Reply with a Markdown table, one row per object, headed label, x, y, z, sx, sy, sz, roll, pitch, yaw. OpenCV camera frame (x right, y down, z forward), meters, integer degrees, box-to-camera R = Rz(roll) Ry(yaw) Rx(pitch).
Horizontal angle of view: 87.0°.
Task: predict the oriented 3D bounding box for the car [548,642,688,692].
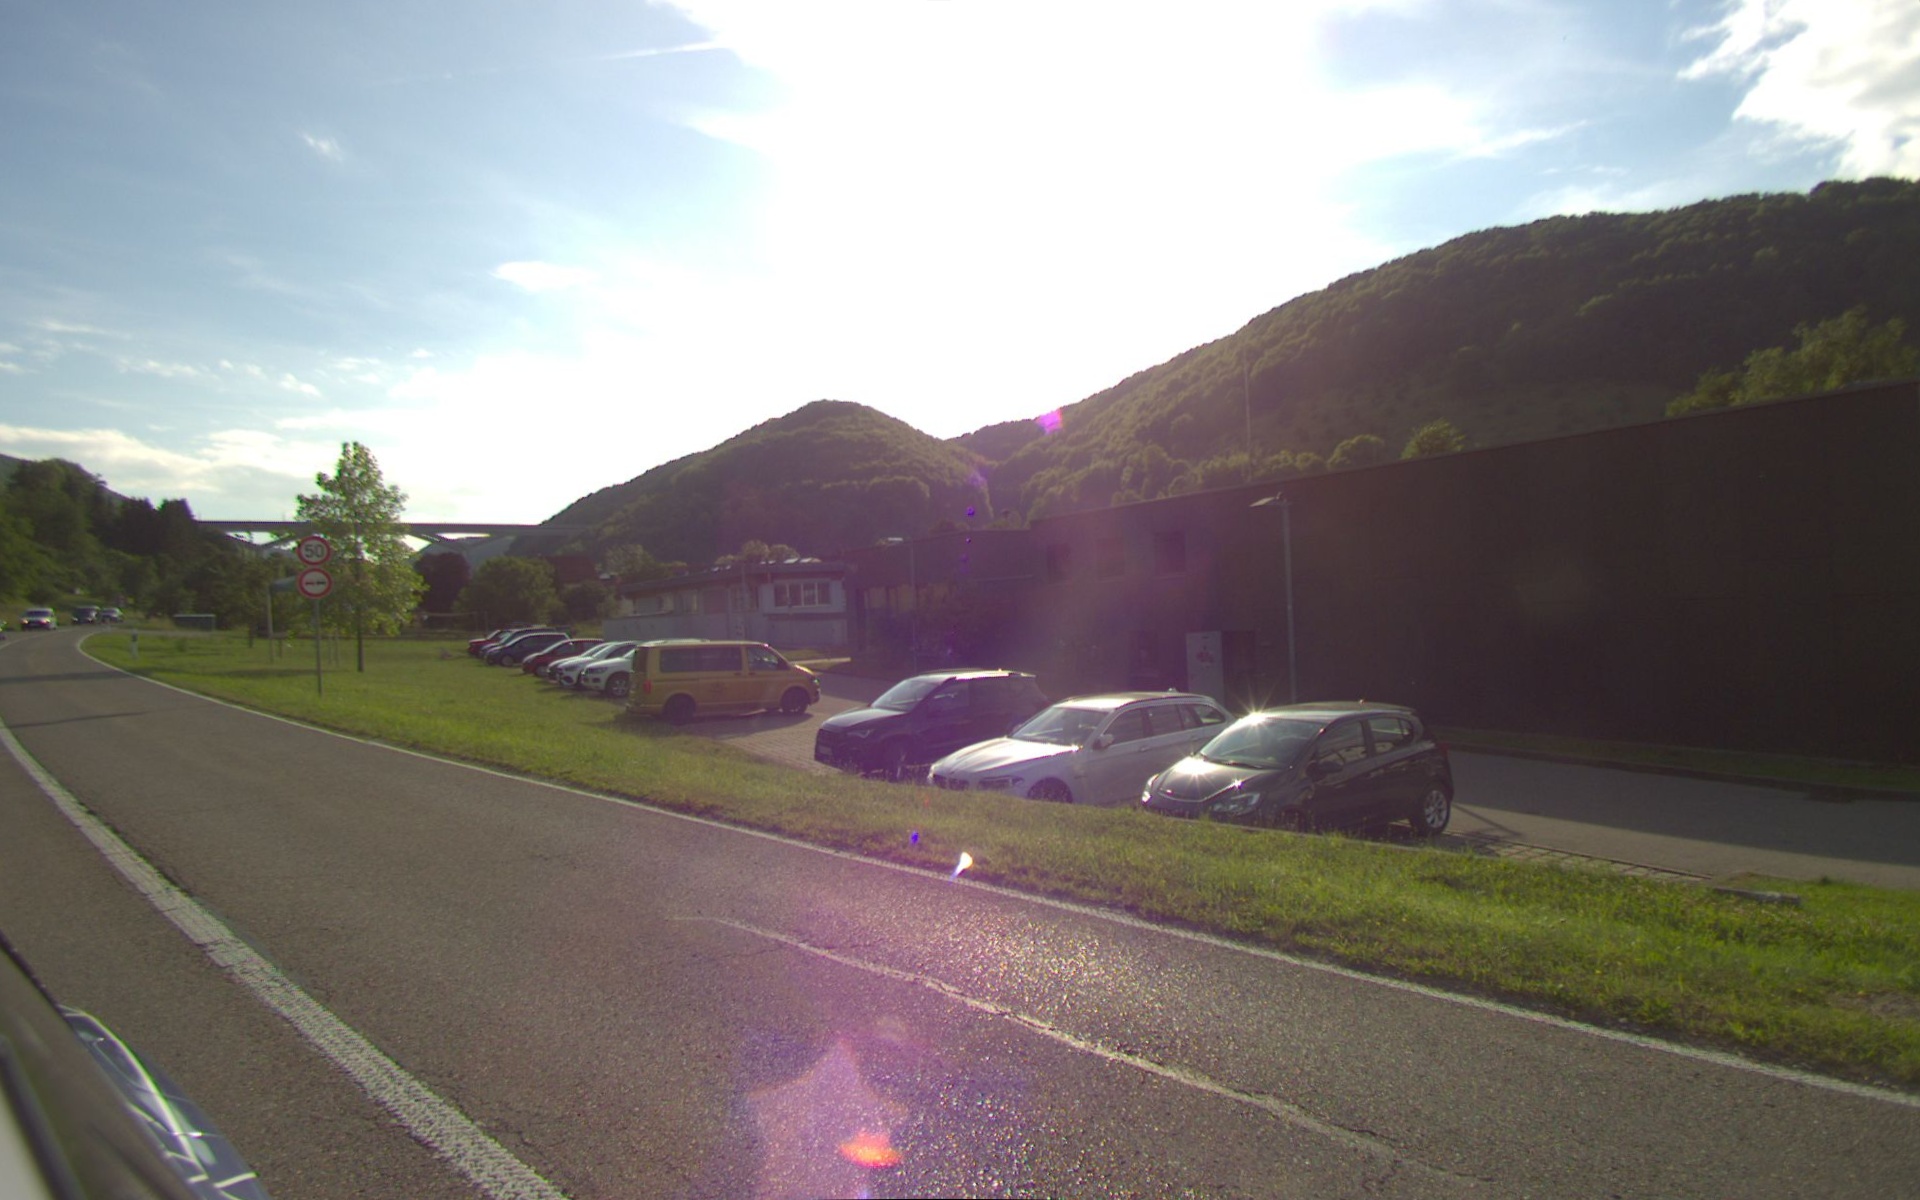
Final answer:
| label | x | y | z | sx | sy | sz | roll | pitch | yaw |
| --- | --- | --- | --- | --- | --- | --- | --- | --- | --- |
| car | -12.114 | 2.339 | 35.889 | 4.370 | 1.599 | 2.006 | 0 | -2 | -30 |

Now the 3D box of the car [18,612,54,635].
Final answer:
| label | x | y | z | sx | sy | sz | roll | pitch | yaw |
| --- | --- | --- | --- | --- | --- | --- | --- | --- | --- |
| car | -74.397 | 1.911 | 81.506 | 1.771 | 1.749 | 4.292 | 0 | -1 | -37 |

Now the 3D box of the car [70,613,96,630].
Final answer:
| label | x | y | z | sx | sy | sz | roll | pitch | yaw |
| --- | --- | --- | --- | --- | --- | --- | --- | --- | --- |
| car | -89.431 | 2.157 | 103.184 | 1.652 | 1.659 | 3.354 | -1 | -1 | -35 |

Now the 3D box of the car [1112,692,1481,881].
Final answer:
| label | x | y | z | sx | sy | sz | roll | pitch | yaw |
| --- | --- | --- | --- | --- | --- | --- | --- | --- | --- |
| car | 3.849 | 1.944 | 11.465 | 3.932 | 1.546 | 1.839 | 0 | -2 | -31 |

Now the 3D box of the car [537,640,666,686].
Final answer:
| label | x | y | z | sx | sy | sz | roll | pitch | yaw |
| --- | --- | --- | --- | --- | --- | --- | --- | --- | --- |
| car | -13.740 | 2.388 | 38.857 | 4.371 | 1.595 | 2.006 | 1 | -2 | -32 |

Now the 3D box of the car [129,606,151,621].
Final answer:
| label | x | y | z | sx | sy | sz | roll | pitch | yaw |
| --- | --- | --- | --- | --- | --- | --- | --- | --- | --- |
| car | -112.719 | 1.867 | 139.112 | 1.880 | 1.918 | 4.011 | 0 | 0 | -33 |

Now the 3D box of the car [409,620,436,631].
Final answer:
| label | x | y | z | sx | sy | sz | roll | pitch | yaw |
| --- | --- | --- | --- | --- | --- | --- | --- | --- | --- |
| car | -72.198 | 3.415 | 135.958 | 1.967 | 1.539 | 4.785 | 0 | -1 | -12 |

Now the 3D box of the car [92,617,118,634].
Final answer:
| label | x | y | z | sx | sy | sz | roll | pitch | yaw |
| --- | --- | --- | --- | --- | --- | --- | --- | --- | --- |
| car | -97.511 | 2.891 | 115.493 | 1.967 | 1.730 | 4.009 | -2 | -1 | -36 |

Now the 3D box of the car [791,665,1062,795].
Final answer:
| label | x | y | z | sx | sy | sz | roll | pitch | yaw |
| --- | --- | --- | --- | --- | --- | --- | --- | --- | --- |
| car | -0.523 | 2.088 | 17.274 | 4.226 | 1.650 | 1.917 | -2 | -1 | -35 |

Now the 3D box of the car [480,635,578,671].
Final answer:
| label | x | y | z | sx | sy | sz | roll | pitch | yaw |
| --- | --- | --- | --- | --- | --- | --- | --- | --- | --- |
| car | -21.968 | 2.666 | 51.631 | 4.371 | 1.595 | 2.006 | -1 | -1 | -31 |

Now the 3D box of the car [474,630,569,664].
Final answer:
| label | x | y | z | sx | sy | sz | roll | pitch | yaw |
| --- | --- | --- | --- | --- | --- | --- | --- | --- | --- |
| car | -24.214 | 2.544 | 55.903 | 4.595 | 1.776 | 2.006 | 0 | -2 | -31 |

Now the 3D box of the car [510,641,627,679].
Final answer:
| label | x | y | z | sx | sy | sz | roll | pitch | yaw |
| --- | --- | --- | --- | --- | --- | --- | --- | --- | --- |
| car | -16.618 | 2.506 | 43.006 | 4.370 | 1.463 | 2.006 | 0 | -2 | -30 |

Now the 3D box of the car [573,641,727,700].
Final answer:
| label | x | y | z | sx | sy | sz | roll | pitch | yaw |
| --- | --- | --- | --- | --- | --- | --- | --- | --- | --- |
| car | -10.092 | 2.244 | 33.017 | 4.477 | 1.714 | 2.006 | 0 | -2 | -30 |

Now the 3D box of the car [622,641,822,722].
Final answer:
| label | x | y | z | sx | sy | sz | roll | pitch | yaw |
| --- | --- | --- | --- | --- | --- | --- | --- | --- | --- |
| car | -6.053 | 1.999 | 25.855 | 4.583 | 1.827 | 2.006 | 0 | -2 | -30 |

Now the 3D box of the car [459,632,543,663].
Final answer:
| label | x | y | z | sx | sy | sz | roll | pitch | yaw |
| --- | --- | --- | --- | --- | --- | --- | --- | --- | --- |
| car | -27.320 | 2.781 | 60.238 | 4.371 | 1.733 | 2.006 | 0 | -2 | -31 |

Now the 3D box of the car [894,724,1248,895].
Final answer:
| label | x | y | z | sx | sy | sz | roll | pitch | yaw |
| --- | --- | --- | --- | --- | --- | --- | --- | --- | --- |
| car | 1.569 | 2.631 | 13.576 | 4.577 | 1.508 | 1.918 | 1 | -2 | -34 |
